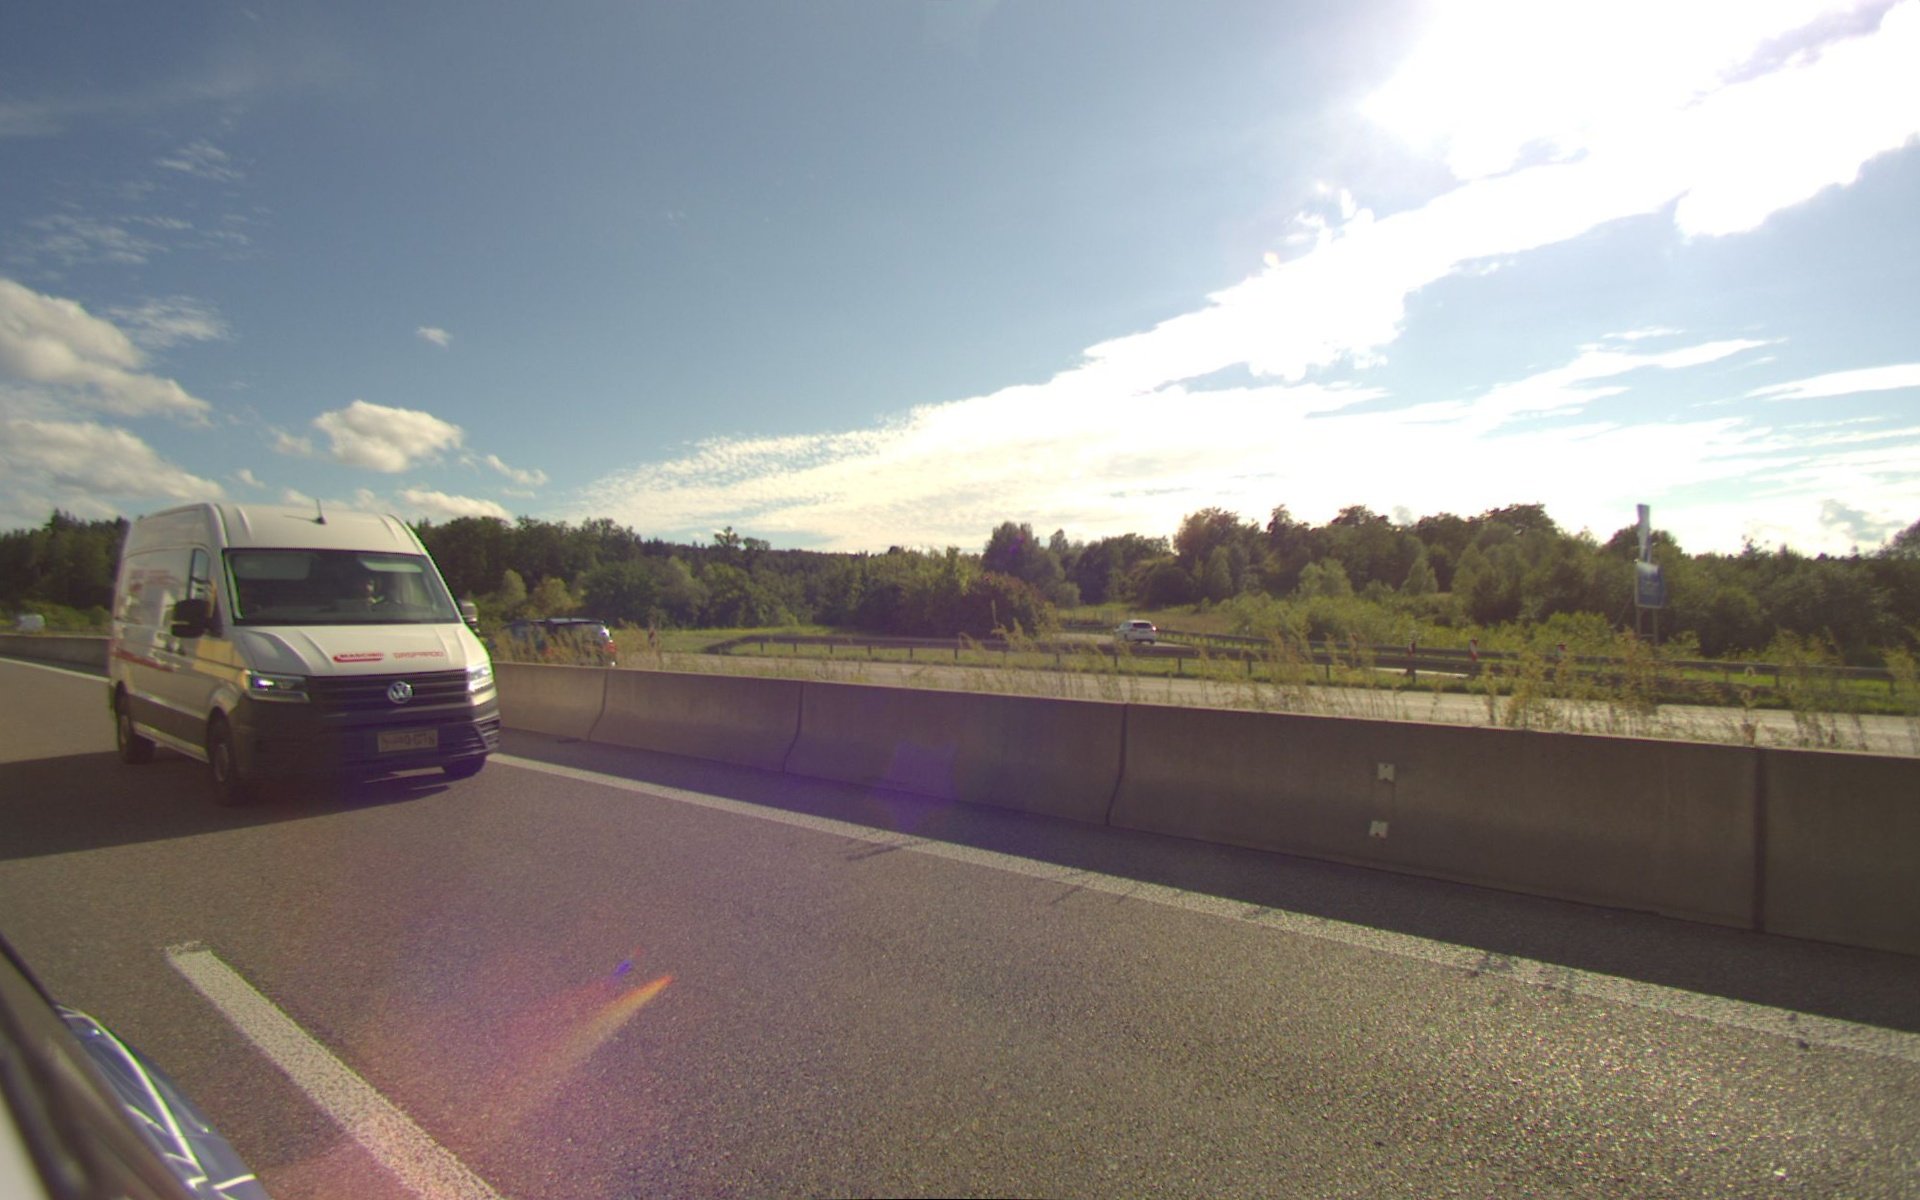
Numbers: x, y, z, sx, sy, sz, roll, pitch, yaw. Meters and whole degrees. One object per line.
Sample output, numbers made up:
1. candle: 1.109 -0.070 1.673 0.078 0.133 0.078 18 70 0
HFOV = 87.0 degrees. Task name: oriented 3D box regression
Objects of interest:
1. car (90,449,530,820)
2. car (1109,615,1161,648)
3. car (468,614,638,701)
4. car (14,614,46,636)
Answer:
1. car: -6.666 0.309 9.933 6.179 2.618 1.994 -2 -1 41
2. car: 11.042 1.985 64.323 1.969 1.813 4.983 -2 1 -5
3. car: -9.213 1.210 22.759 4.249 1.706 1.797 -1 1 41
4. car: -116.262 3.057 126.502 7.318 2.598 2.012 -1 1 41
